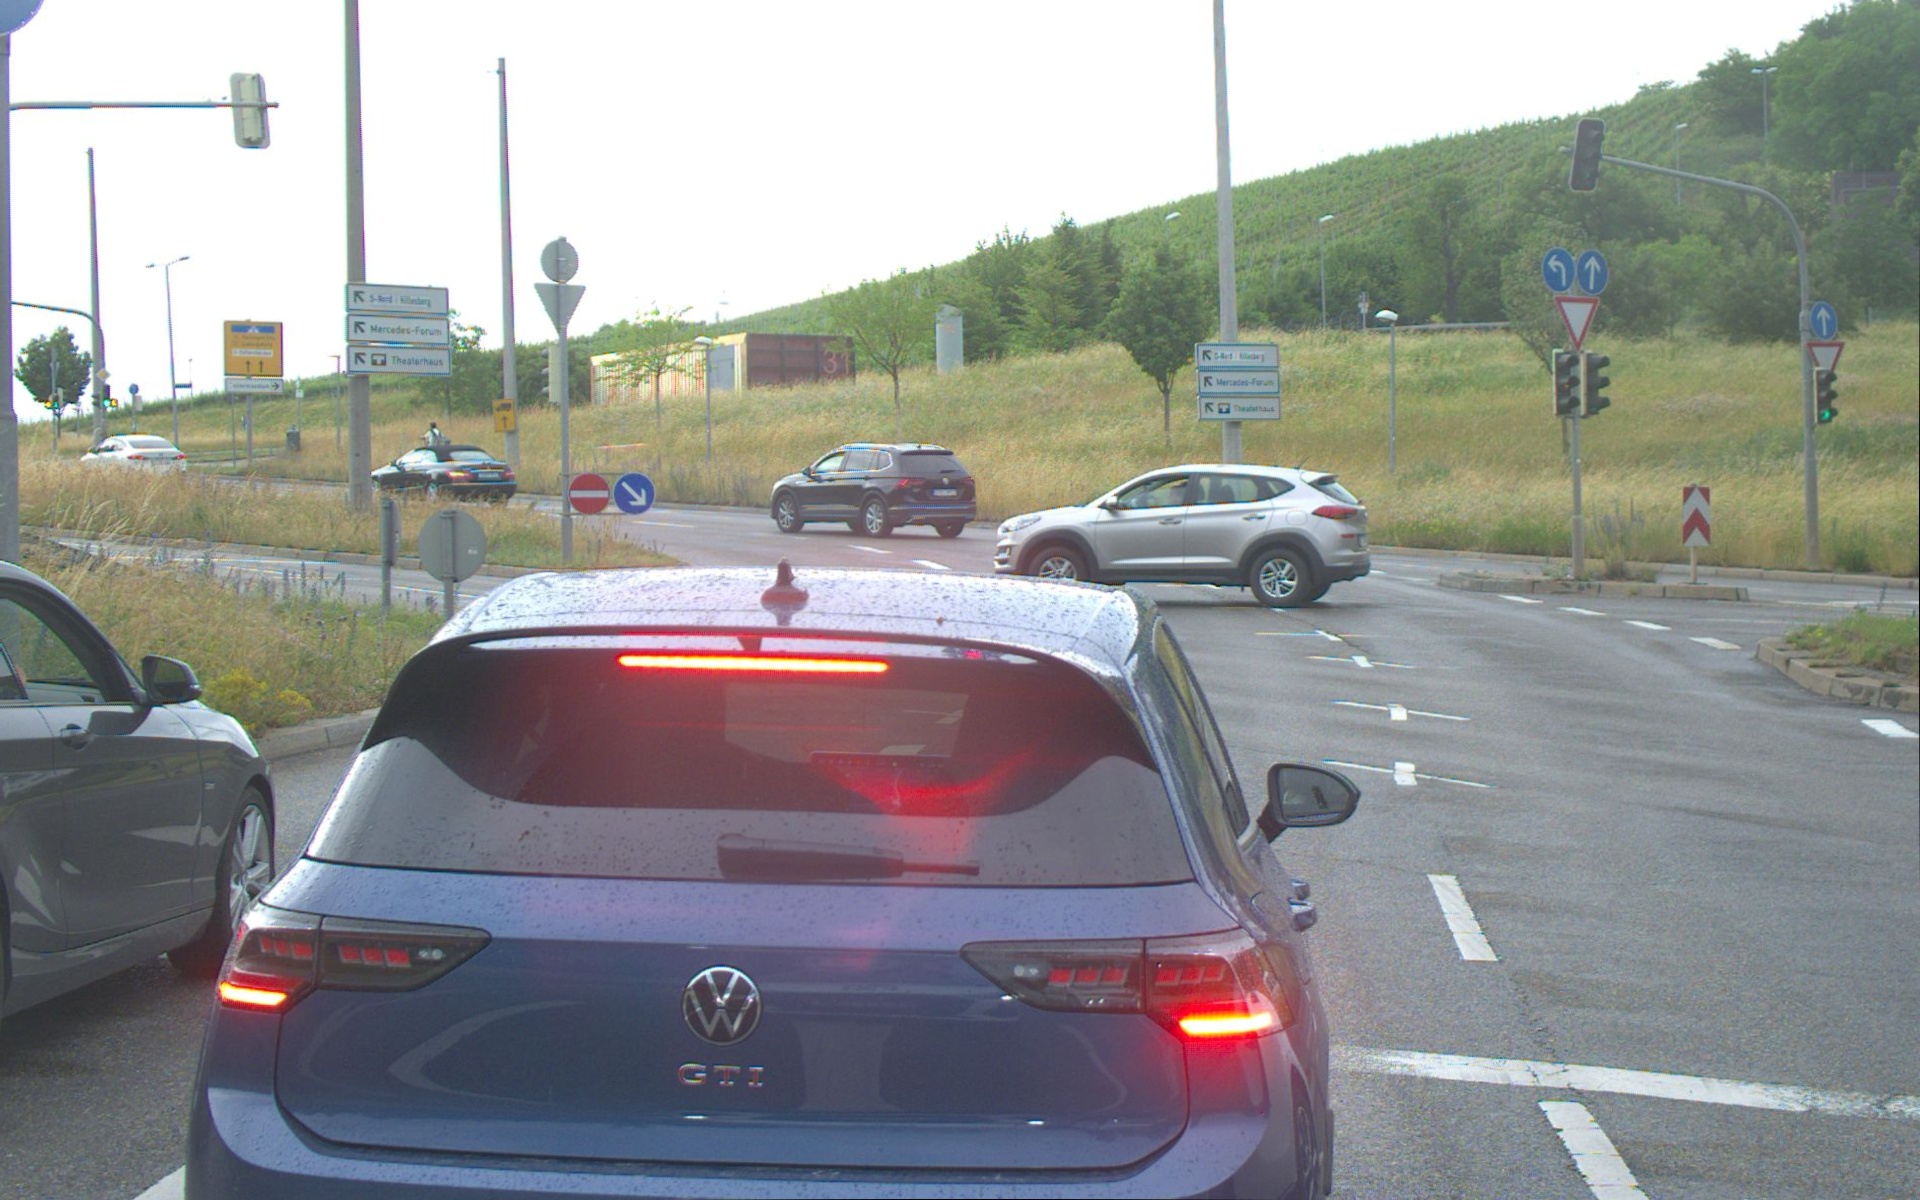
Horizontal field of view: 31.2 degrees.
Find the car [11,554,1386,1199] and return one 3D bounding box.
[{"bbox_3d":[-0.204,0.655,6.431,1.825,1.455,3.808,0,1,5],"label":"car"}]

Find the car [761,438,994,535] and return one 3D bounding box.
[{"bbox_3d":[-1.532,-2.029,62.273,1.994,1.631,4.420,1,0,-37],"label":"car"}]

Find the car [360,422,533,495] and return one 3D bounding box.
[{"bbox_3d":[-11.531,-3.143,77.008,1.994,1.472,4.502,1,0,-36],"label":"car"}]

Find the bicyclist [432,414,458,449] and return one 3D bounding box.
[{"bbox_3d":[-15.971,-5.226,106.578,0.523,1.043,0.580,3,1,-34],"label":"bicyclist"}]

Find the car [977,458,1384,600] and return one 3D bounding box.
[{"bbox_3d":[2.653,-0.842,41.015,4.513,1.615,1.998,1,0,15],"label":"car"}]

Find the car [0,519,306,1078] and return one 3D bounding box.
[{"bbox_3d":[-3.275,0.499,9.808,1.703,1.454,4.114,0,1,5],"label":"car"}]

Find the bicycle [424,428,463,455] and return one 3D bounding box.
[{"bbox_3d":[-16.036,-4.914,106.642,0.518,0.772,1.621,2,1,-33],"label":"bicycle"}]

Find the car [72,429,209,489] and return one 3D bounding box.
[{"bbox_3d":[-22.188,-3.790,92.944,1.994,1.472,4.420,1,0,-37],"label":"car"}]
